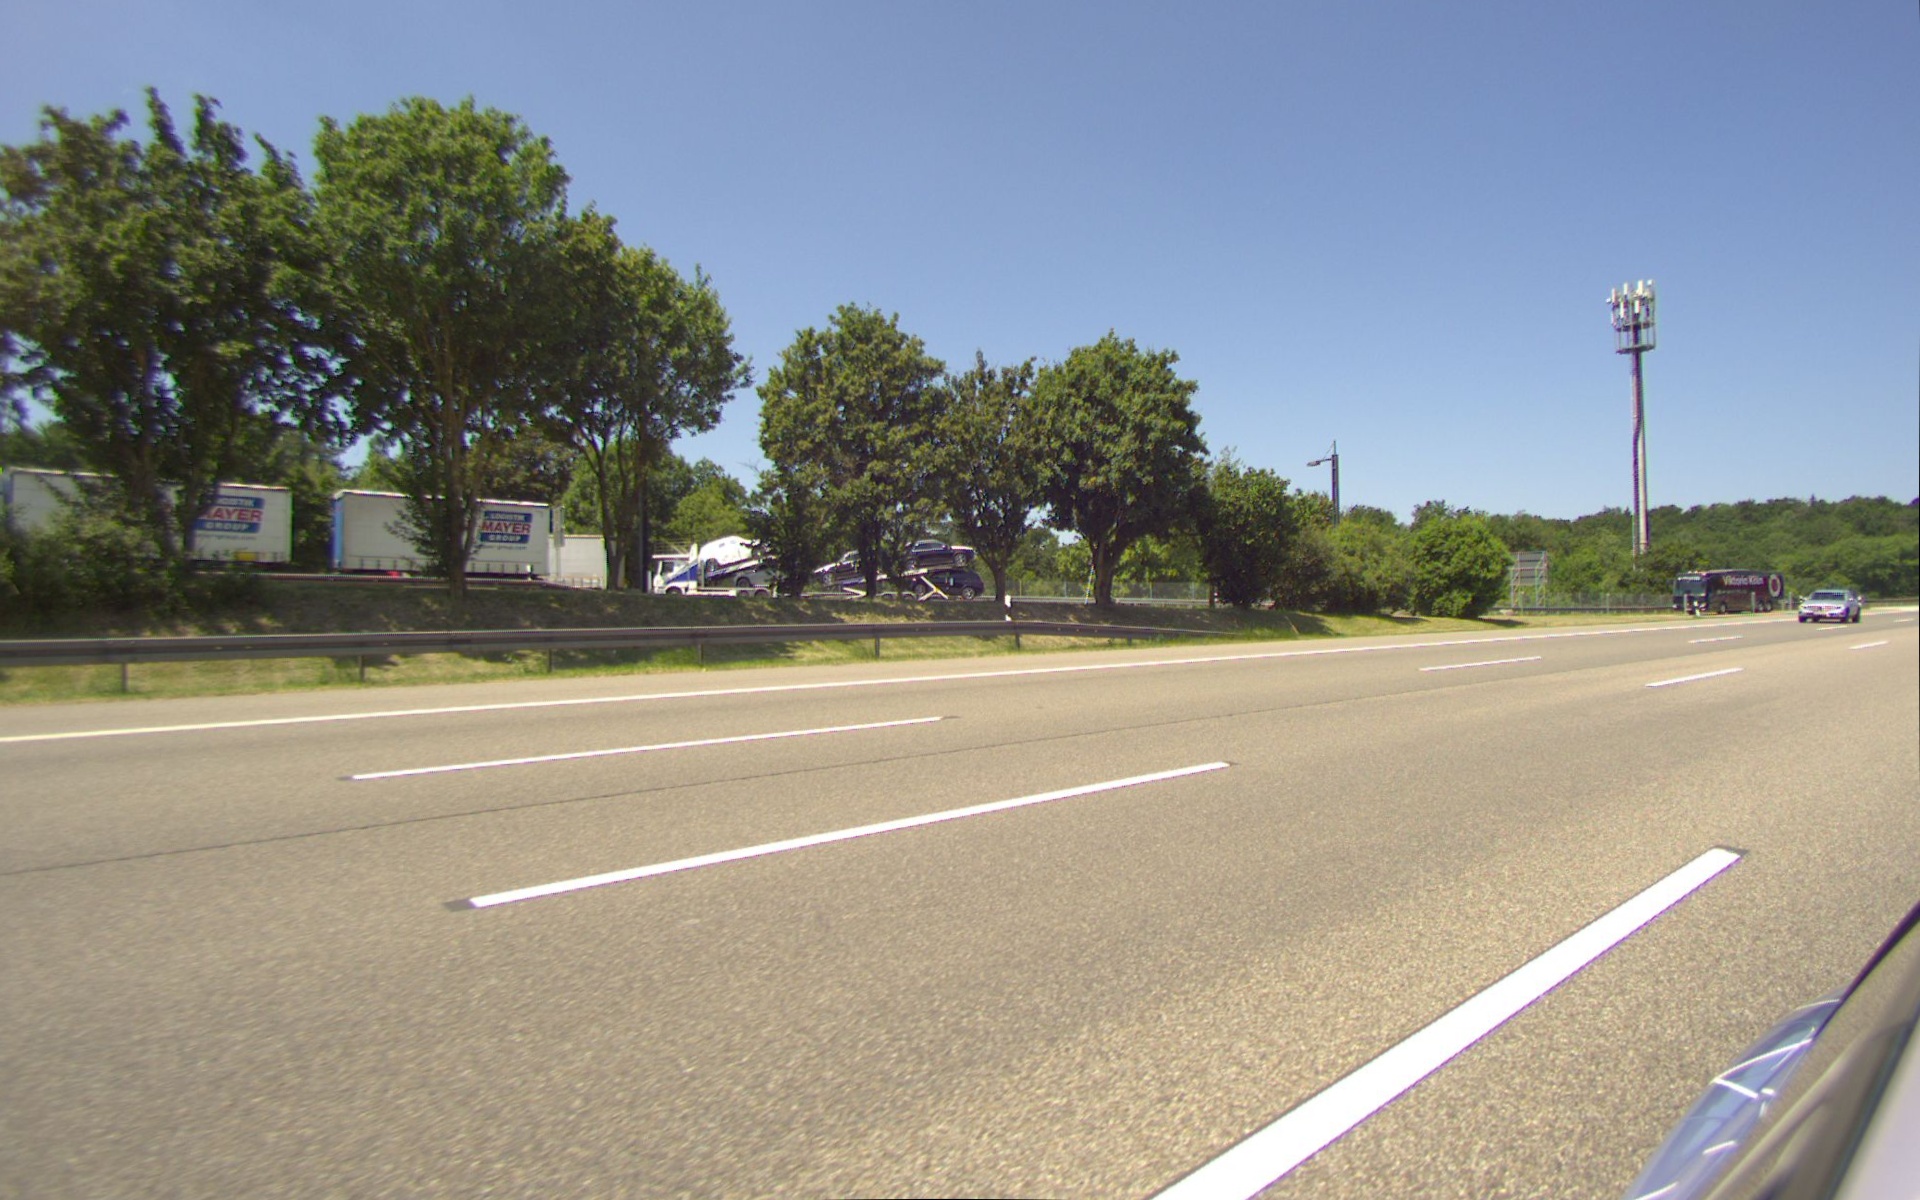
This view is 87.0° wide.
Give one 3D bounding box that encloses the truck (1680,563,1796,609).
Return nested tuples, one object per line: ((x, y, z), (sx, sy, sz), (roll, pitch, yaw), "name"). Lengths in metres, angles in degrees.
((64.531, -1.205, 83.857), (12.074, 3.616, 2.758), (-1, 0, -27), "truck")

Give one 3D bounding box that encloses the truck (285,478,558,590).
((-20.944, -2.418, 39.754), (9.092, 3.926, 2.973), (-1, 0, -37), "truck")

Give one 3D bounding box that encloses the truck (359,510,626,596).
((-29.284, -2.853, 63.582), (16.072, 5.051, 2.960), (-1, 0, 7), "truck")

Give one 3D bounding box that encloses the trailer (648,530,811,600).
((-13.903, -2.100, 61.339), (9.421, 4.087, 2.313), (0, 0, 4), "trailer")

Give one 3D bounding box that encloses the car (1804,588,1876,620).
((43.860, 0.168, 50.442), (3.927, 1.549, 1.999), (0, 1, -38), "car")

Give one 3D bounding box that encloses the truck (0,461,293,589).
((-28.536, -2.361, 33.852), (10.198, 3.904, 2.941), (-1, 0, -38), "truck")

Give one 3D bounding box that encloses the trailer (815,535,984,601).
((-3.576, -1.917, 60.971), (9.926, 3.764, 2.243), (-1, 0, 1), "trailer")
